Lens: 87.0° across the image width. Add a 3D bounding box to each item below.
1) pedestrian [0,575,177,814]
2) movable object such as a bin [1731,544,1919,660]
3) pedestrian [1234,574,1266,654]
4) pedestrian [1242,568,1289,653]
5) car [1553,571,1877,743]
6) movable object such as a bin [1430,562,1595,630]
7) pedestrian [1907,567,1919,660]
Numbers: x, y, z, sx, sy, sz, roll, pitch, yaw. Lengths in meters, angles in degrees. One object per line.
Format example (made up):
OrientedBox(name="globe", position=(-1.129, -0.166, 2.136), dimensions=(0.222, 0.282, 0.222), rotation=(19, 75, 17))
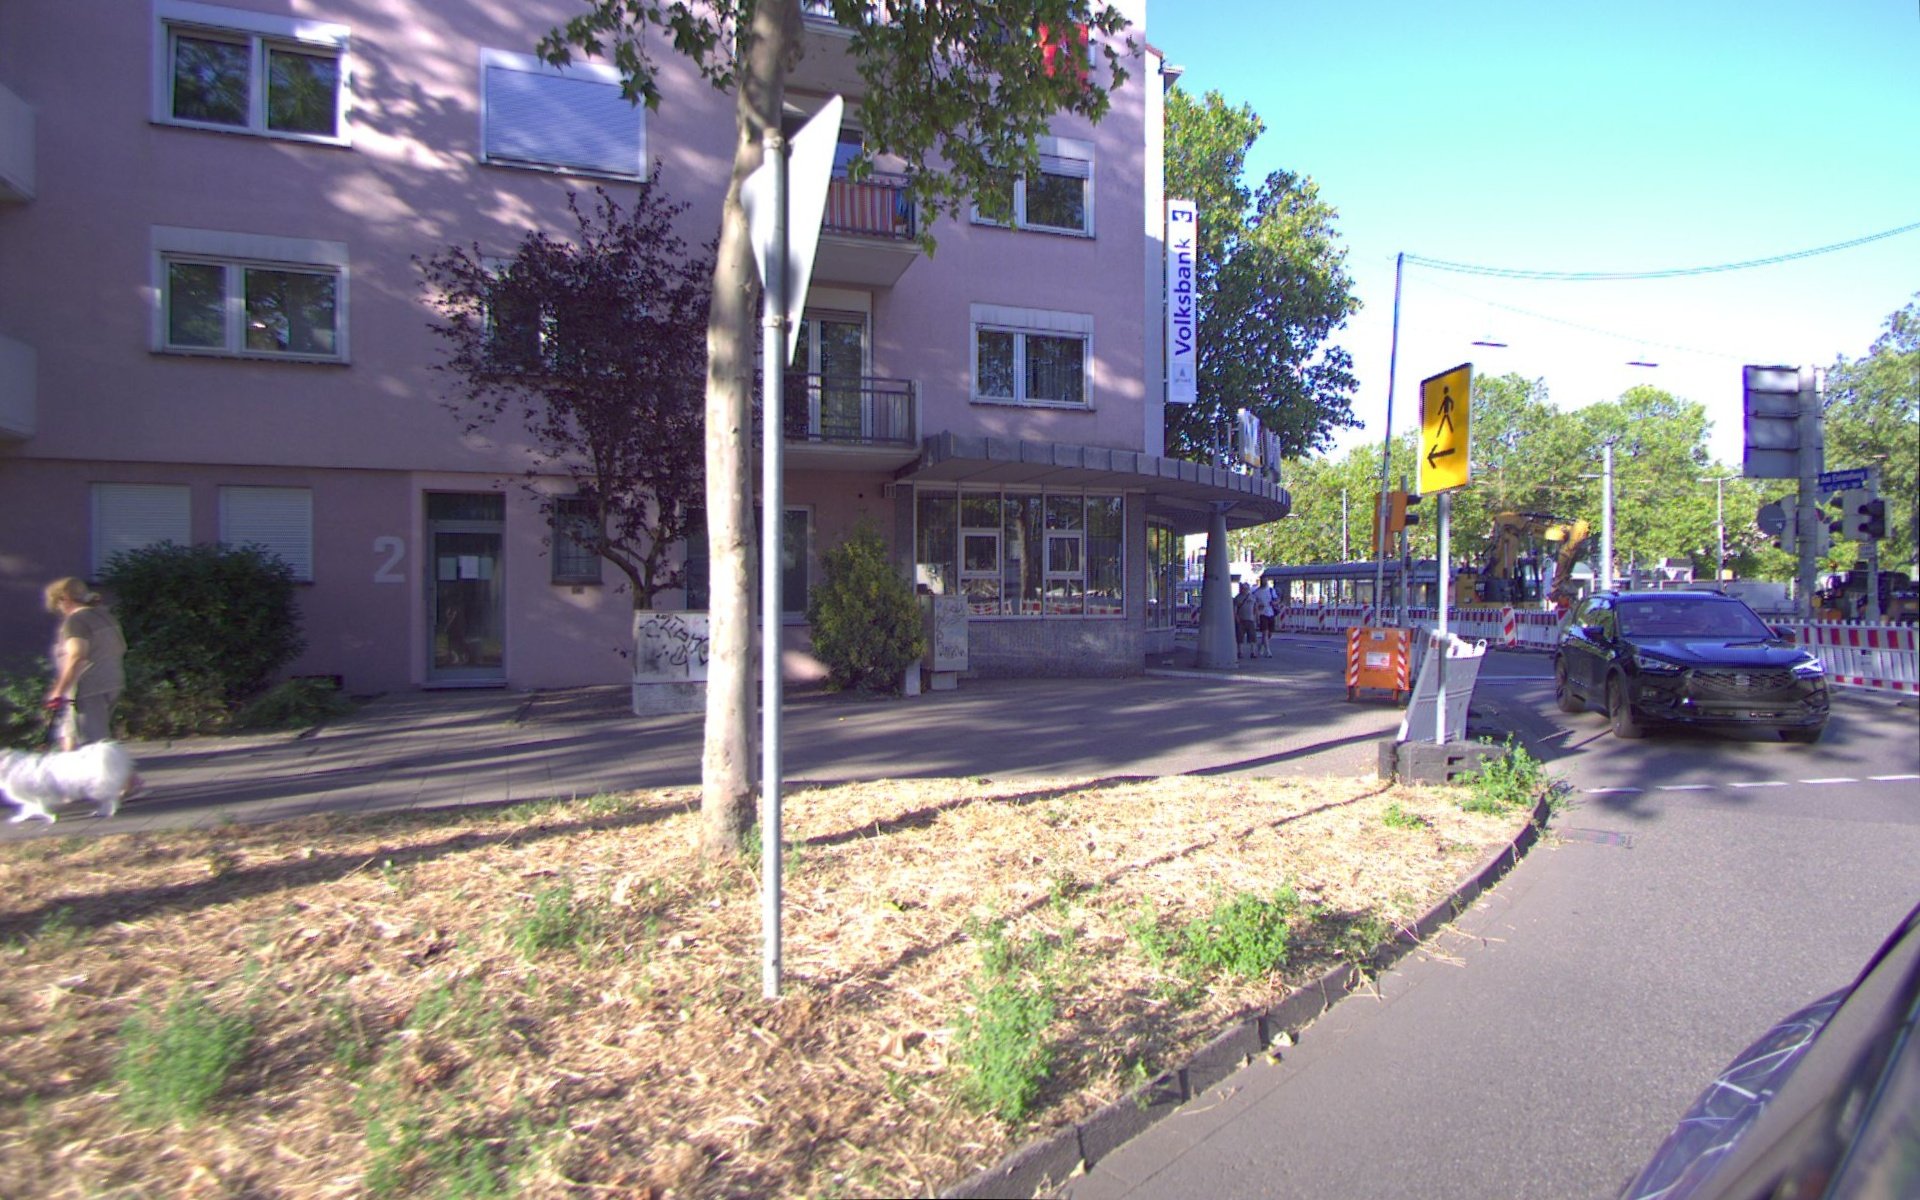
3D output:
OrientedBox(name="pedestrian", position=(-5.901, 0.586, 6.817), dimensions=(0.799, 1.493, 0.794), rotation=(0, 0, -22))
OrientedBox(name="movable object such as a bin", position=(19.718, 0.003, 22.535), dimensions=(1.970, 2.285, 5.187), rotation=(-2, 0, 13))
OrientedBox(name="pedestrian", position=(6.405, 0.301, 22.373), dimensions=(0.576, 1.730, 0.676), rotation=(2, -1, 12))
OrientedBox(name="pedestrian", position=(7.130, 0.251, 23.685), dimensions=(0.827, 1.893, 1.095), rotation=(4, -2, 11))
OrientedBox(name="car", position=(8.694, 0.549, 12.148), dimensions=(1.975, 1.668, 4.175), rotation=(-1, 0, 21))
OrientedBox(name="movable object such as a bin", position=(20.448, -0.135, 37.746), dimensions=(2.596, 2.347, 4.912), rotation=(-1, 0, -19))
OrientedBox(name="pedestrian", position=(19.139, 0.261, 19.379), dimensions=(0.958, 1.821, 1.069), rotation=(-1, 0, 3))
